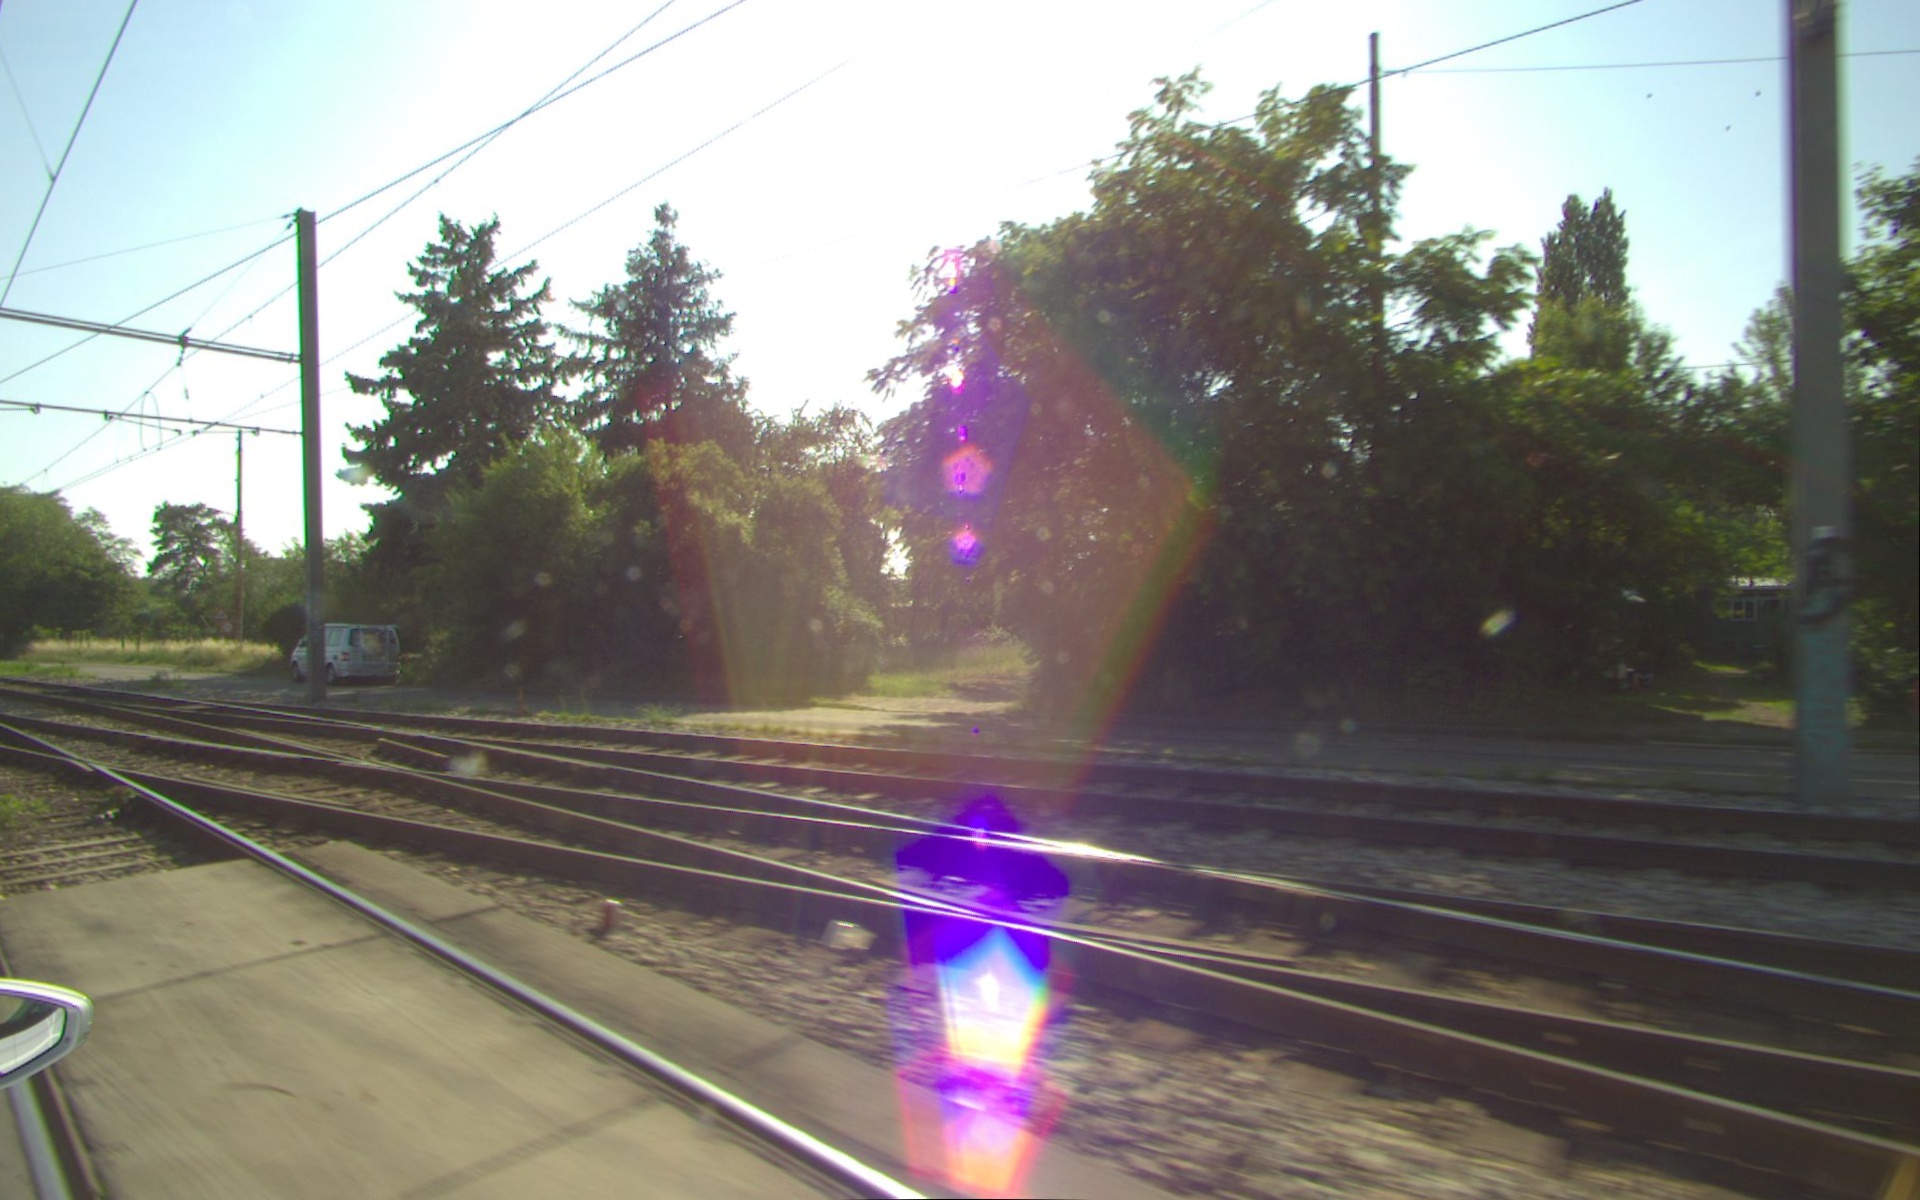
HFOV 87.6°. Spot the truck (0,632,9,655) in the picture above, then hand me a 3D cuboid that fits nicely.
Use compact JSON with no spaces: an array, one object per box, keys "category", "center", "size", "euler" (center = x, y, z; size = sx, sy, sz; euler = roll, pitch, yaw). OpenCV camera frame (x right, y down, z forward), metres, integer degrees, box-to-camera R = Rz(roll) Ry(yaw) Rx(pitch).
[{"category":"truck","center":[-78.611,3.532,80.578],"size":[5.857,1.842,2.196],"euler":[-2,-2,38]}]

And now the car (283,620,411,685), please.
[{"category":"car","center":[-20.676,1.757,33.700],"size":[5.005,2.029,1.987],"euler":[-2,-4,38]}]

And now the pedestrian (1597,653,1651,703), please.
[{"category":"pedestrian","center":[16.502,1.927,24.901],"size":[0.982,1.203,0.759],"euler":[-2,-3,27]}]

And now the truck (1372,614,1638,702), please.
[{"category":"truck","center":[12.746,1.311,23.701],"size":[5.330,1.878,1.990],"euler":[-1,-1,31]}]
